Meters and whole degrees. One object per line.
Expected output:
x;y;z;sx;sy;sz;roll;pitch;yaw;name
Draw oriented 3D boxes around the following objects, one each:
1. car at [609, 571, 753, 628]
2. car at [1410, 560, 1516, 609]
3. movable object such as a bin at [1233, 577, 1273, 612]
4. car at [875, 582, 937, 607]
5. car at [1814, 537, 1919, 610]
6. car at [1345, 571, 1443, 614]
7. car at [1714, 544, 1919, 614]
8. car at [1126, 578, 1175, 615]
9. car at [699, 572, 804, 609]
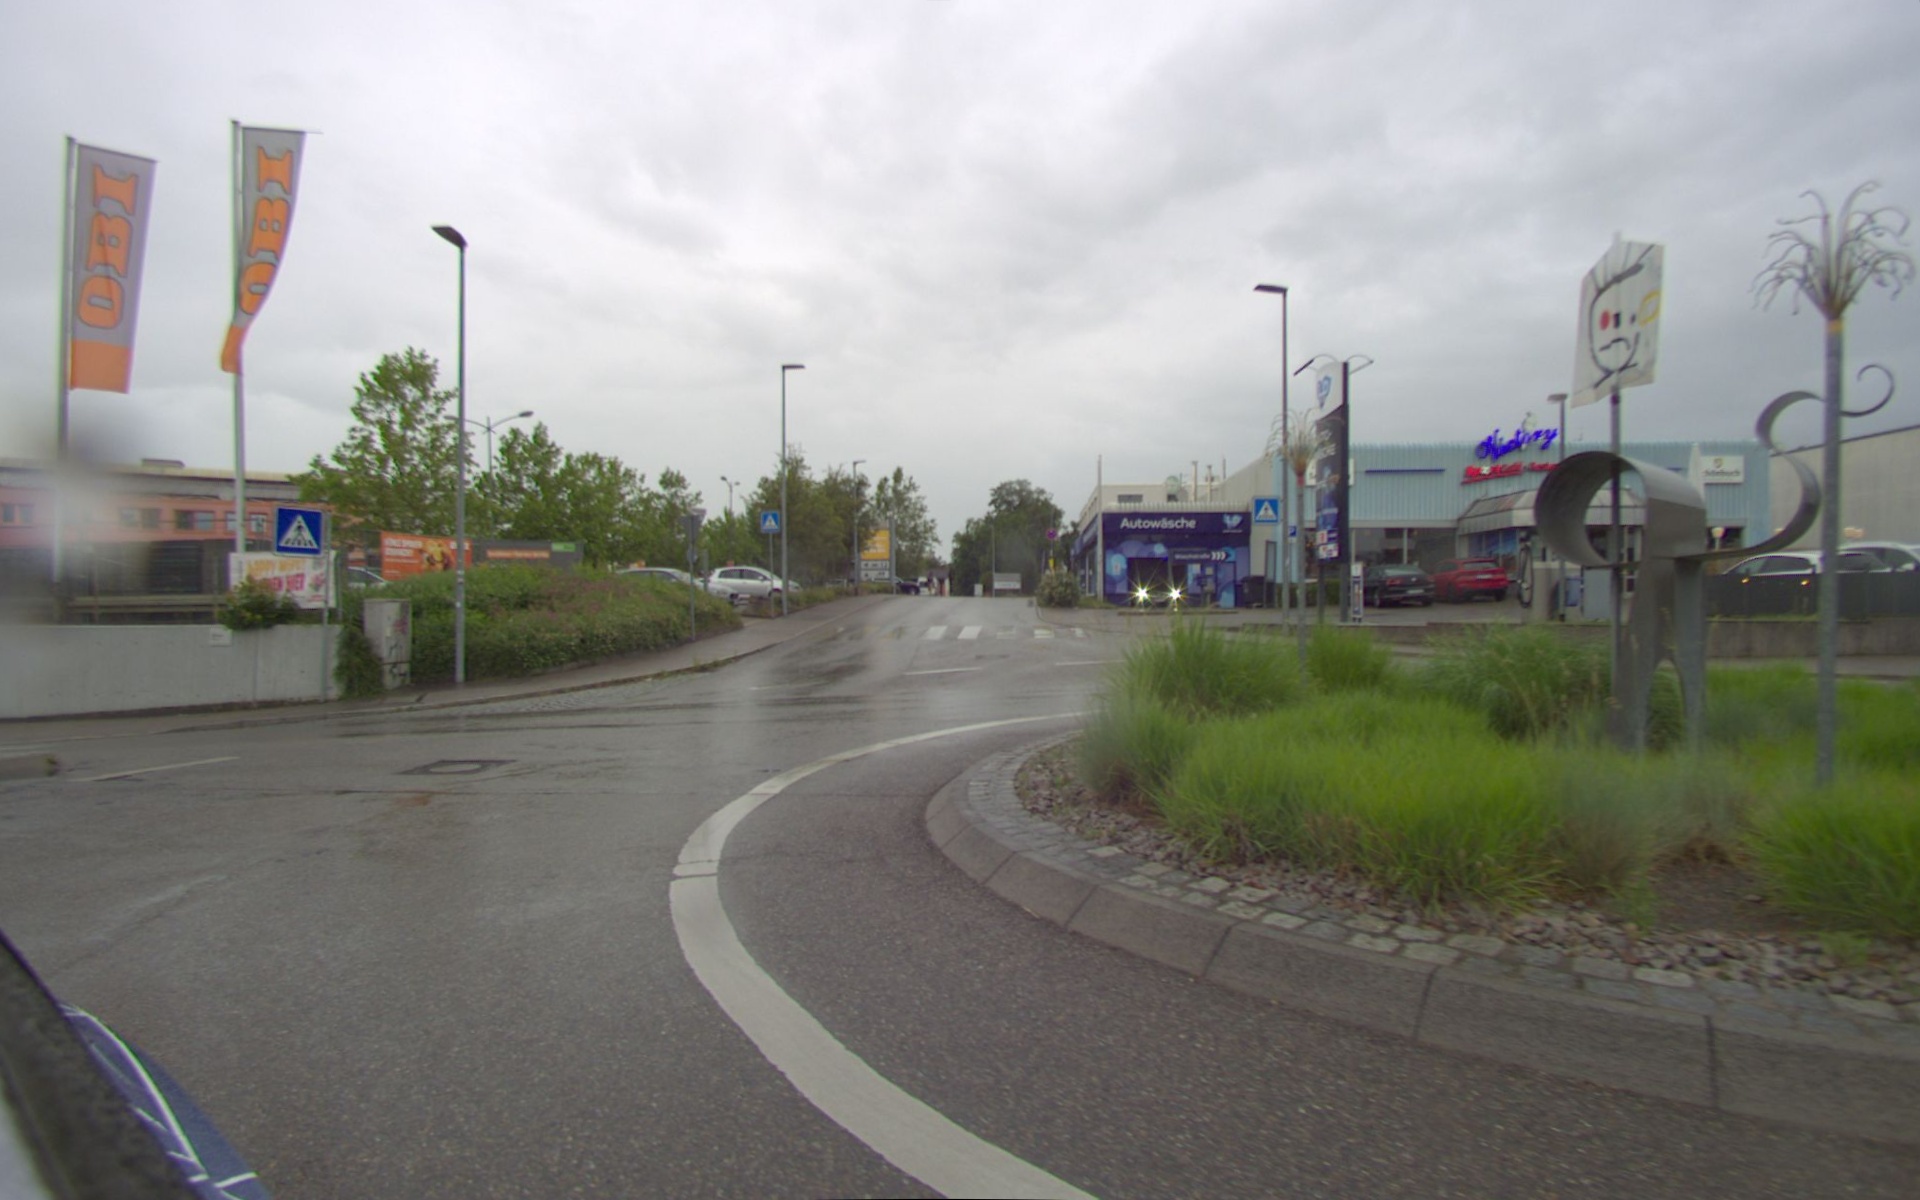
-9.003;-0.002;32.853;4.059;1.719;1.994;-1;-1;9;car
17.445;-0.511;35.331;1.864;1.497;3.994;-4;0;5;car
11.651;-0.208;40.278;1.199;1.305;1.476;-4;0;5;movable object such as a bin
-3.639;-0.377;69.026;3.950;1.608;1.996;-1;-1;6;car
21.363;-0.578;22.250;1.770;1.564;3.998;-1;0;1;car
14.919;-0.247;35.014;1.864;1.305;3.994;-4;0;5;car
18.655;-0.431;21.875;1.864;1.305;3.994;-4;0;5;car
8.666;-0.126;46.293;1.898;1.541;3.991;-3;-1;7;car
-8.818;-0.372;42.952;3.950;1.453;1.996;-1;-1;6;car
